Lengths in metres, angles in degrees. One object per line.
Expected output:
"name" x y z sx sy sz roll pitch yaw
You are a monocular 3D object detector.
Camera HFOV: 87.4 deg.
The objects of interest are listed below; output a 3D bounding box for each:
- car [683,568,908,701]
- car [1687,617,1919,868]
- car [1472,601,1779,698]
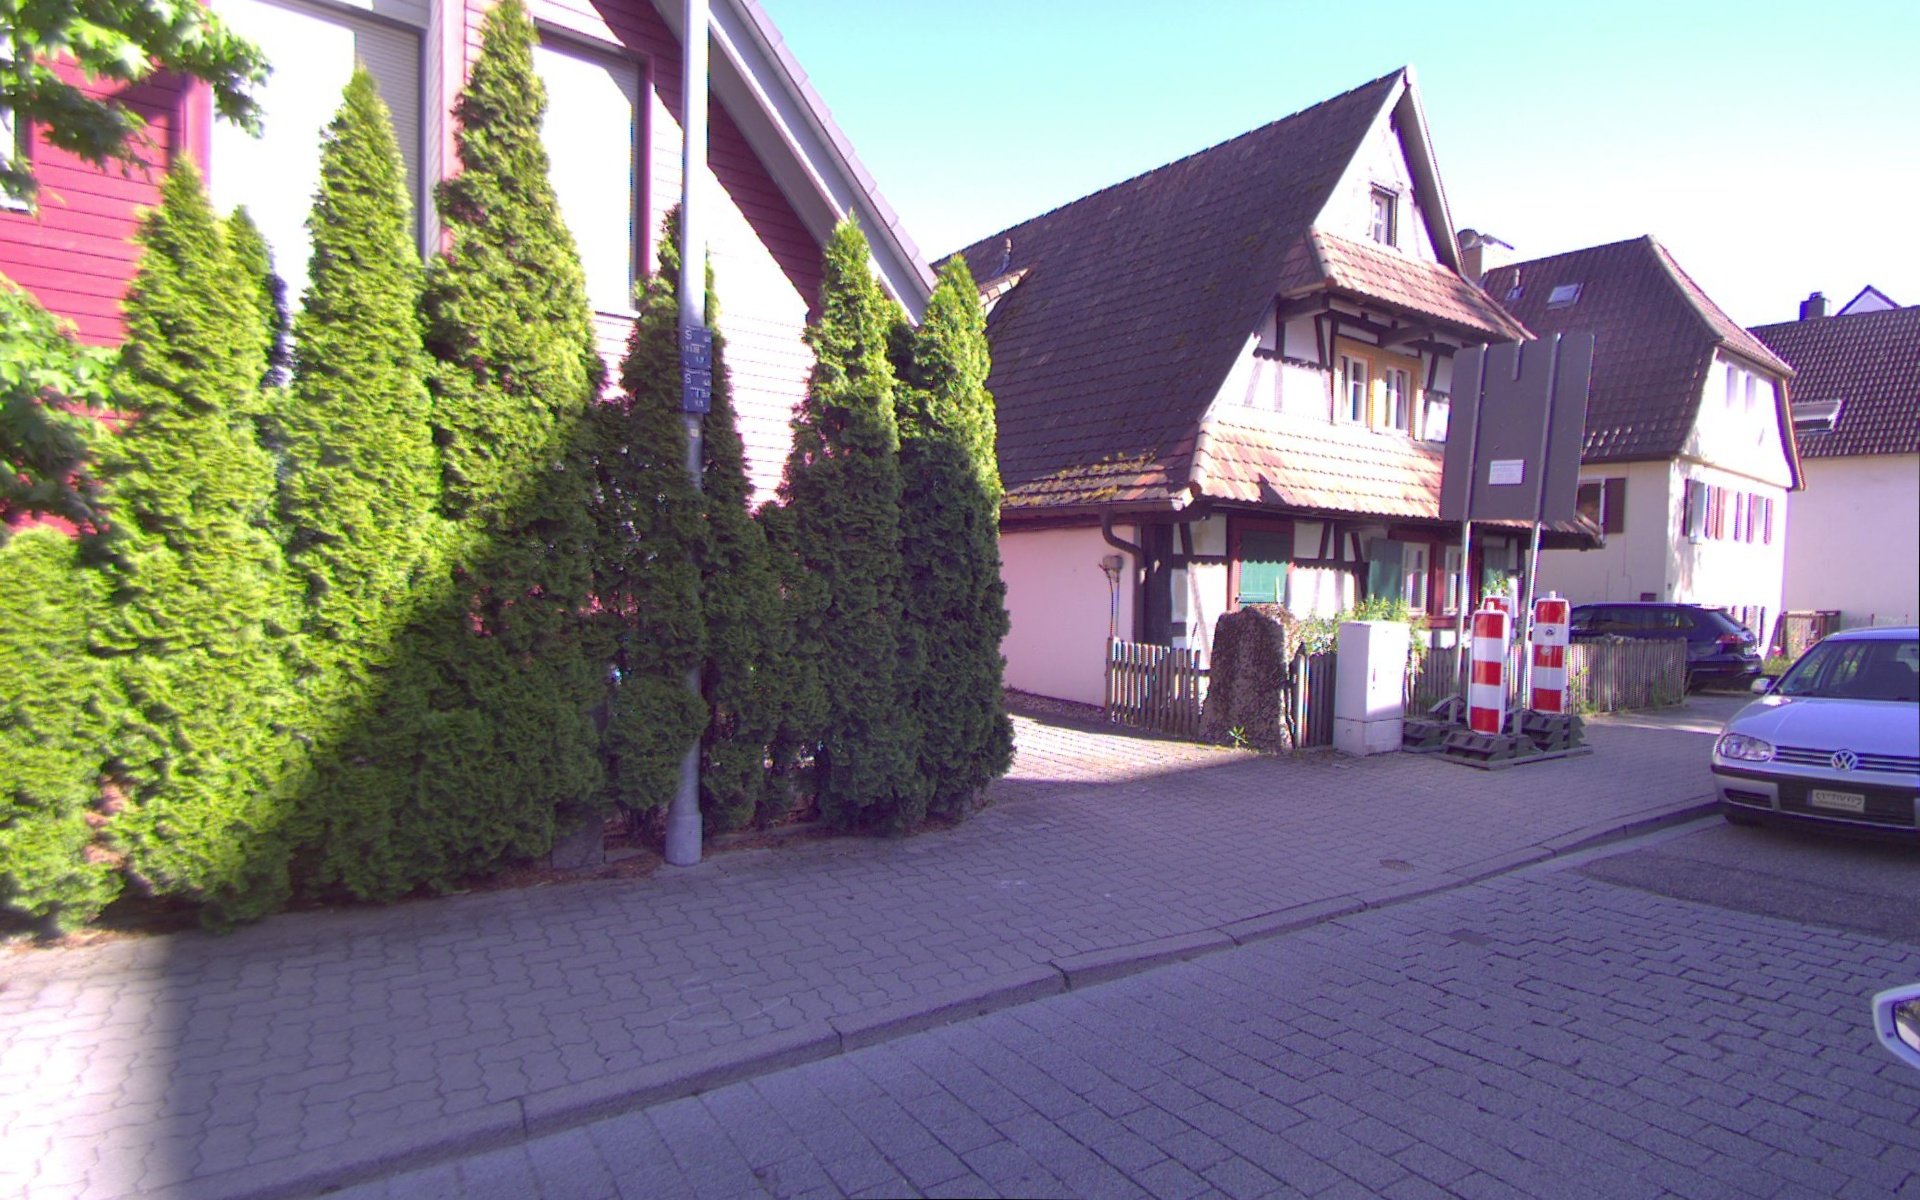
"car" -2.405 0.337 13.770 1.795 1.522 3.968 0 2 -30
"car" 6.967 0.855 7.193 3.852 1.421 1.660 1 0 -35
"car" 11.419 0.775 17.477 1.832 1.481 4.126 0 0 -38
